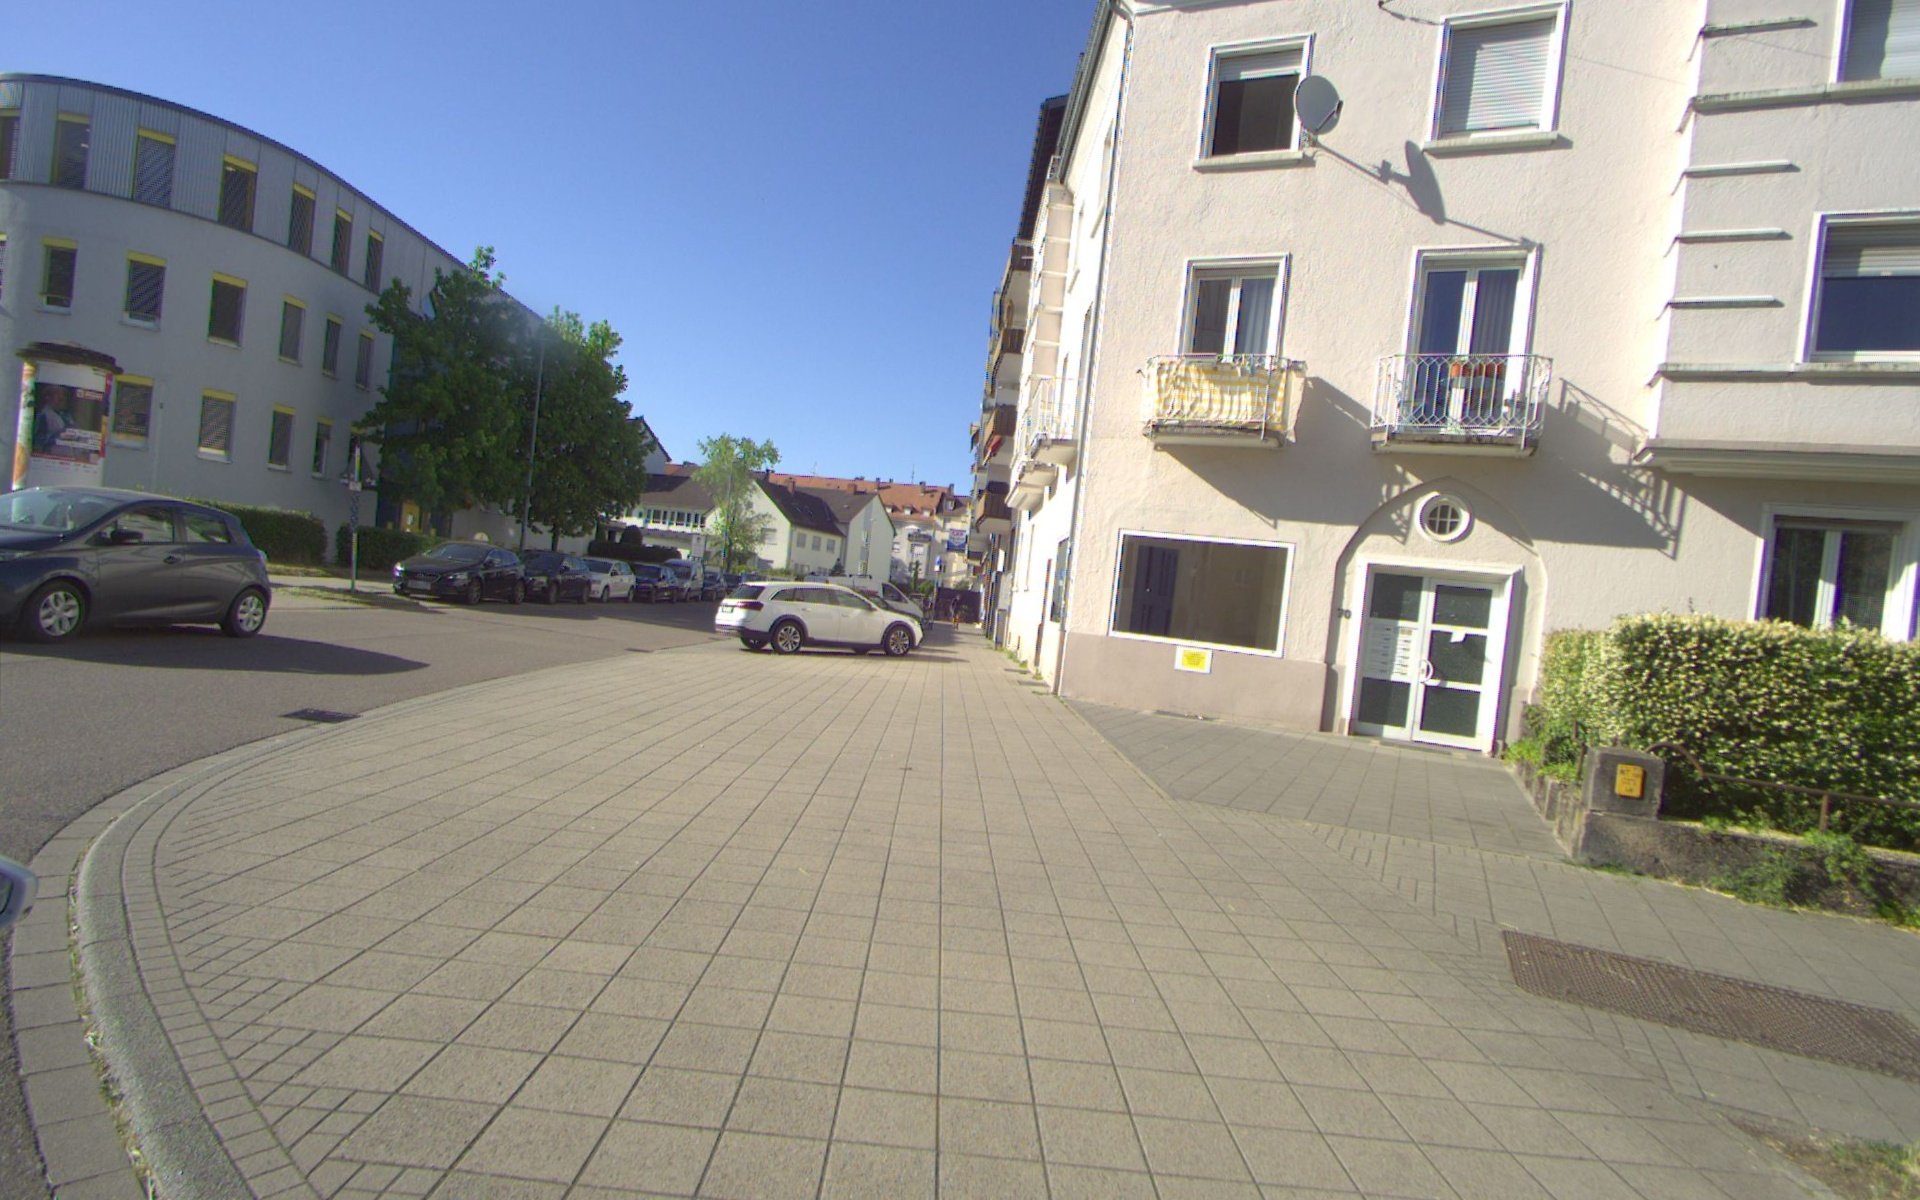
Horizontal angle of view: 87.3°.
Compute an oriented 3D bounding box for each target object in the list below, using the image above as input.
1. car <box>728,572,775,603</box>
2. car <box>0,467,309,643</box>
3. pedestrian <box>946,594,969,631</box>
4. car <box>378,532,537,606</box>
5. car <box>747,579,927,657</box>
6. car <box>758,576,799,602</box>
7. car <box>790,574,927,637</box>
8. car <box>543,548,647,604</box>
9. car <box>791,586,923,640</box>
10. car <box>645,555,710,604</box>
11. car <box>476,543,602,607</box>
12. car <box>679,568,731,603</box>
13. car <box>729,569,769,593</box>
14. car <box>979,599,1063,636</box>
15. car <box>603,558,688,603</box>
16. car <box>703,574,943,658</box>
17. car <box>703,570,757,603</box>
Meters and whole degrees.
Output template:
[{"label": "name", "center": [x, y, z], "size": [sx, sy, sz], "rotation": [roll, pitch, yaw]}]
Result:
[{"label": "car", "center": [-12.411, -0.730, 60.238], "size": [1.693, 1.606, 4.420], "rotation": [7, 0, 1]}, {"label": "car", "center": [-9.233, -0.443, 10.697], "size": [1.809, 1.522, 4.139], "rotation": [7, -1, 0]}, {"label": "pedestrian", "center": [-0.112, 0.582, 47.109], "size": [0.819, 1.613, 0.889], "rotation": [6, 1, 4]}, {"label": "car", "center": [-12.095, -0.700, 24.567], "size": [1.762, 1.428, 4.221], "rotation": [7, 0, -2]}, {"label": "car", "center": [-3.117, 0.474, 25.785], "size": [4.133, 1.515, 1.807], "rotation": [7, -2, -35]}, {"label": "car", "center": [-12.652, -0.772, 70.475], "size": [1.963, 1.554, 4.915], "rotation": [7, 0, -1]}, {"label": "car", "center": [-3.609, 0.230, 36.311], "size": [4.495, 1.921, 2.027], "rotation": [5, -1, -42]}, {"label": "car", "center": [-12.377, -0.752, 34.456], "size": [1.880, 1.548, 4.623], "rotation": [7, -1, -2]}, {"label": "car", "center": [-3.337, 0.439, 32.889], "size": [3.954, 1.508, 1.604], "rotation": [4, -1, -33]}, {"label": "car", "center": [-12.437, -0.879, 44.548], "size": [1.662, 1.862, 4.338], "rotation": [7, 0, -3]}, {"label": "car", "center": [-12.228, -0.672, 29.560], "size": [1.880, 1.497, 4.379], "rotation": [7, -1, -2]}, {"label": "car", "center": [-12.435, -0.679, 49.330], "size": [1.574, 1.458, 3.997], "rotation": [7, 0, -3]}, {"label": "car", "center": [-18.352, -1.655, 87.769], "size": [1.773, 1.573, 3.190], "rotation": [6, -2, 23]}, {"label": "car", "center": [3.280, 0.950, 54.687], "size": [4.323, 1.531, 1.979], "rotation": [6, 0, -1]}, {"label": "car", "center": [-12.226, -0.705, 39.431], "size": [1.706, 1.457, 4.611], "rotation": [7, 0, 1]}, {"label": "car", "center": [-2.949, 0.384, 22.169], "size": [4.825, 1.483, 1.954], "rotation": [4, 2, -36]}, {"label": "car", "center": [-12.471, -0.701, 54.755], "size": [1.699, 1.483, 4.438], "rotation": [7, 0, 1]}]
